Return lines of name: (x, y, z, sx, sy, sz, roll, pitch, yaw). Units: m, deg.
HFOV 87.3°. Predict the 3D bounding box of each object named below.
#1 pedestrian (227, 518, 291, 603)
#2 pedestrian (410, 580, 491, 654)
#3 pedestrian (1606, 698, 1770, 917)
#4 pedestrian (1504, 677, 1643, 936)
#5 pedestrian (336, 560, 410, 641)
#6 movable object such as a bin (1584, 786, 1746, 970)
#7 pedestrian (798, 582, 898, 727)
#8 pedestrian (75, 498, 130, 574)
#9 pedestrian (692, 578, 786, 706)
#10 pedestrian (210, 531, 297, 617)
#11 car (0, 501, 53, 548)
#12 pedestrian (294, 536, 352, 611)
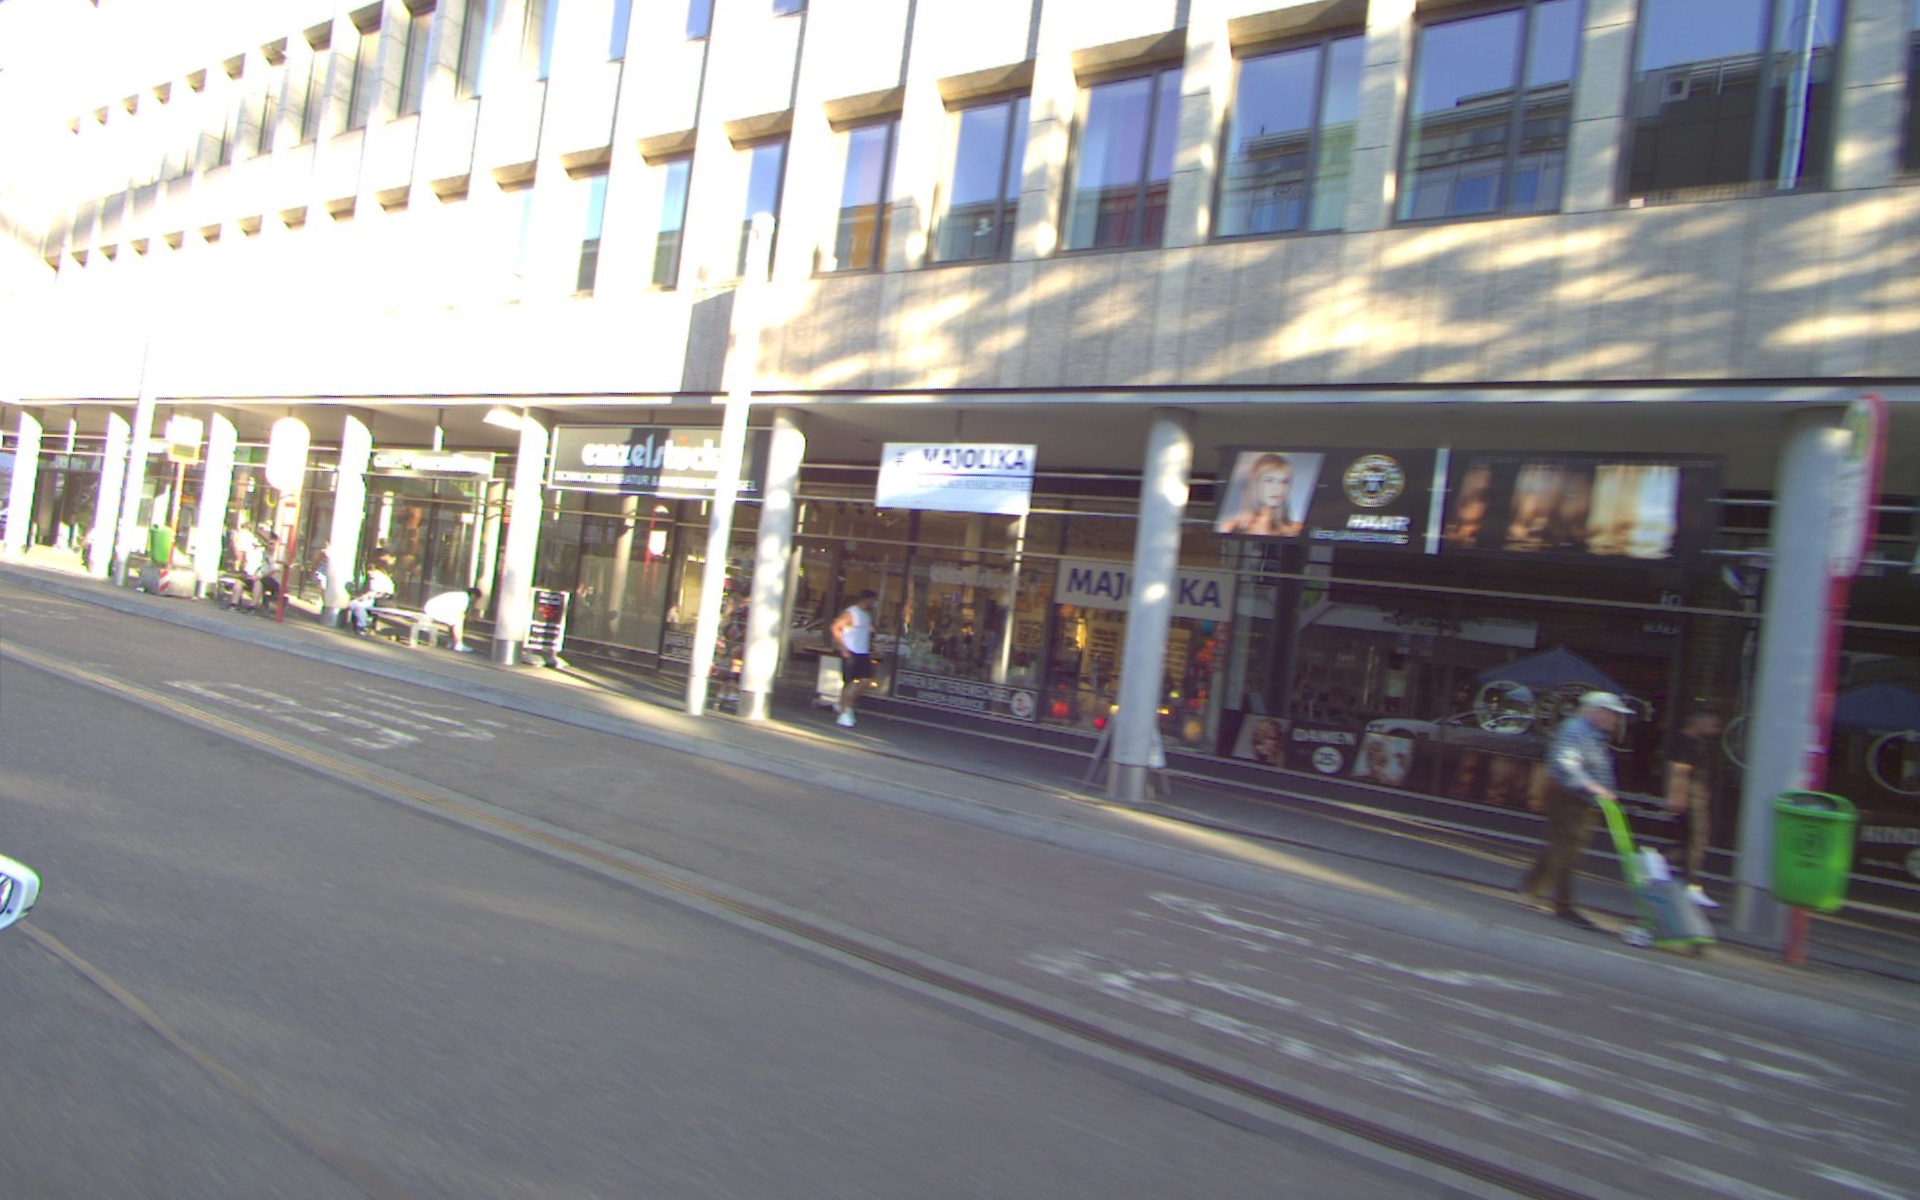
pedestrian: (-15.802, -0.885, 22.680, 0.821, 1.761, 0.717, 7, -1, 31)
pedestrian: (-8.256, 0.280, 16.317, 0.685, 1.042, 0.837, 7, -2, 36)
pedestrian: (6.107, 1.702, 8.498, 0.910, 1.607, 0.697, 7, -1, 32)
pedestrian: (4.221, 1.388, 6.946, 0.621, 1.590, 0.683, 7, -2, 31)
pedestrian: (-9.764, 0.017, 16.732, 0.772, 1.212, 0.667, 7, -1, 36)
movable object such as a bin: (4.457, 1.728, 6.416, 0.706, 0.934, 0.692, 7, -3, 31)
pedestrian: (-1.503, 0.741, 13.531, 0.843, 1.813, 0.746, 7, -1, 32)
pedestrian: (-20.299, -1.510, 23.817, 0.768, 1.672, 0.638, 7, -1, 32)
pedestrian: (-3.214, 0.616, 14.652, 0.843, 1.720, 0.746, 7, -1, 32)
pedestrian: (-12.733, -0.449, 18.147, 0.763, 1.393, 0.837, 8, -1, 9)
car: (-35.066, -2.900, 35.738, 1.620, 1.490, 3.813, 7, -2, 26)
pedestrian: (-14.298, -0.595, 22.580, 0.783, 1.559, 0.644, 7, -1, 31)
